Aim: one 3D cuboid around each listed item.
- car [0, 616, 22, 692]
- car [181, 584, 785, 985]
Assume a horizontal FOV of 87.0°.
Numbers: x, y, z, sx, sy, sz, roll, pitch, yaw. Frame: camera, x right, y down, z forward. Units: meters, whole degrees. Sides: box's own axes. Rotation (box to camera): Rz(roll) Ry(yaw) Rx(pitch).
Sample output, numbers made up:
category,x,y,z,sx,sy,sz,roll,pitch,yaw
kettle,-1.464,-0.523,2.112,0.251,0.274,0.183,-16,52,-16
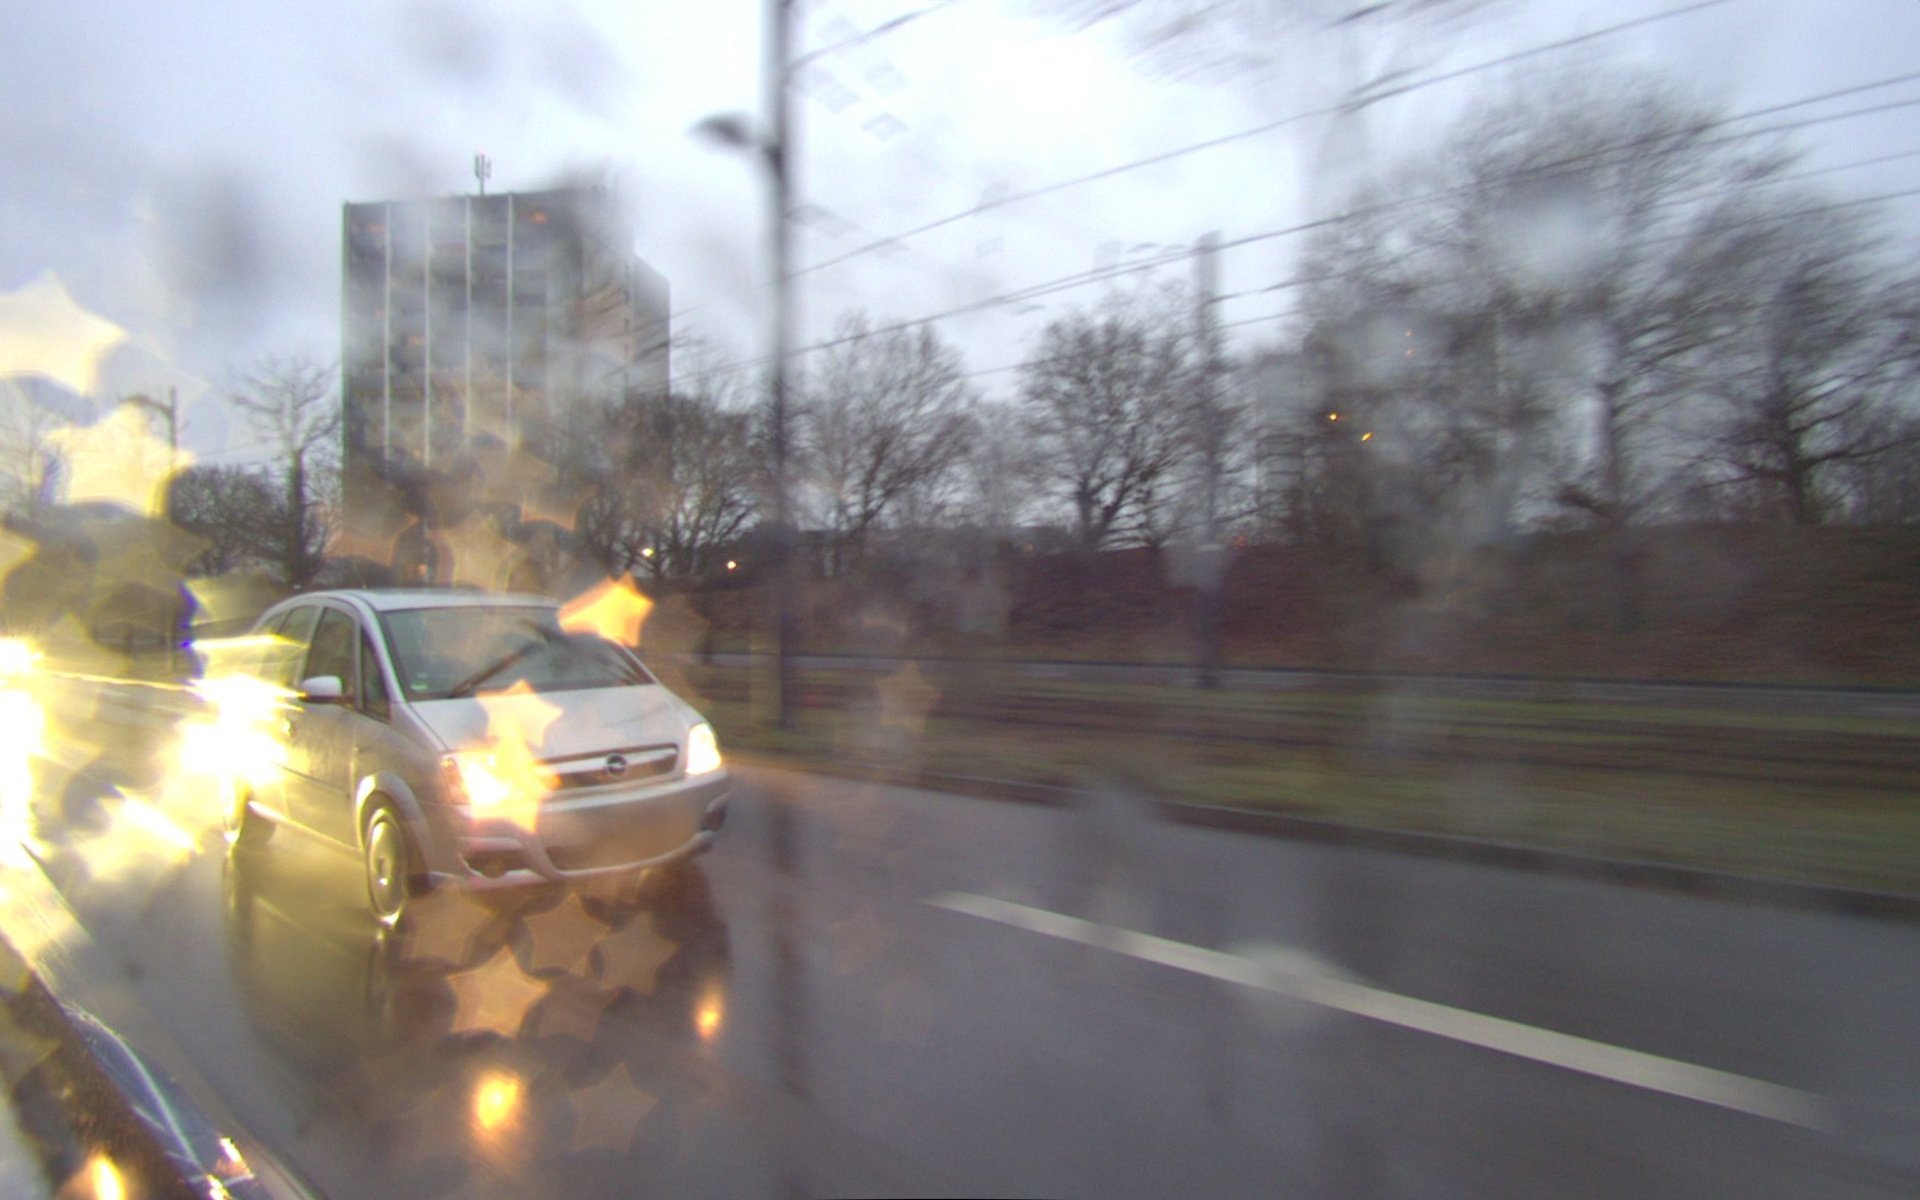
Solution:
category,x,y,z,sx,sy,sz,roll,pitch,yaw
car,-22.363,1.168,22.320,4.121,1.612,1.928,-1,-2,40
car,-3.026,0.744,5.937,4.188,1.551,1.672,-1,-1,41
